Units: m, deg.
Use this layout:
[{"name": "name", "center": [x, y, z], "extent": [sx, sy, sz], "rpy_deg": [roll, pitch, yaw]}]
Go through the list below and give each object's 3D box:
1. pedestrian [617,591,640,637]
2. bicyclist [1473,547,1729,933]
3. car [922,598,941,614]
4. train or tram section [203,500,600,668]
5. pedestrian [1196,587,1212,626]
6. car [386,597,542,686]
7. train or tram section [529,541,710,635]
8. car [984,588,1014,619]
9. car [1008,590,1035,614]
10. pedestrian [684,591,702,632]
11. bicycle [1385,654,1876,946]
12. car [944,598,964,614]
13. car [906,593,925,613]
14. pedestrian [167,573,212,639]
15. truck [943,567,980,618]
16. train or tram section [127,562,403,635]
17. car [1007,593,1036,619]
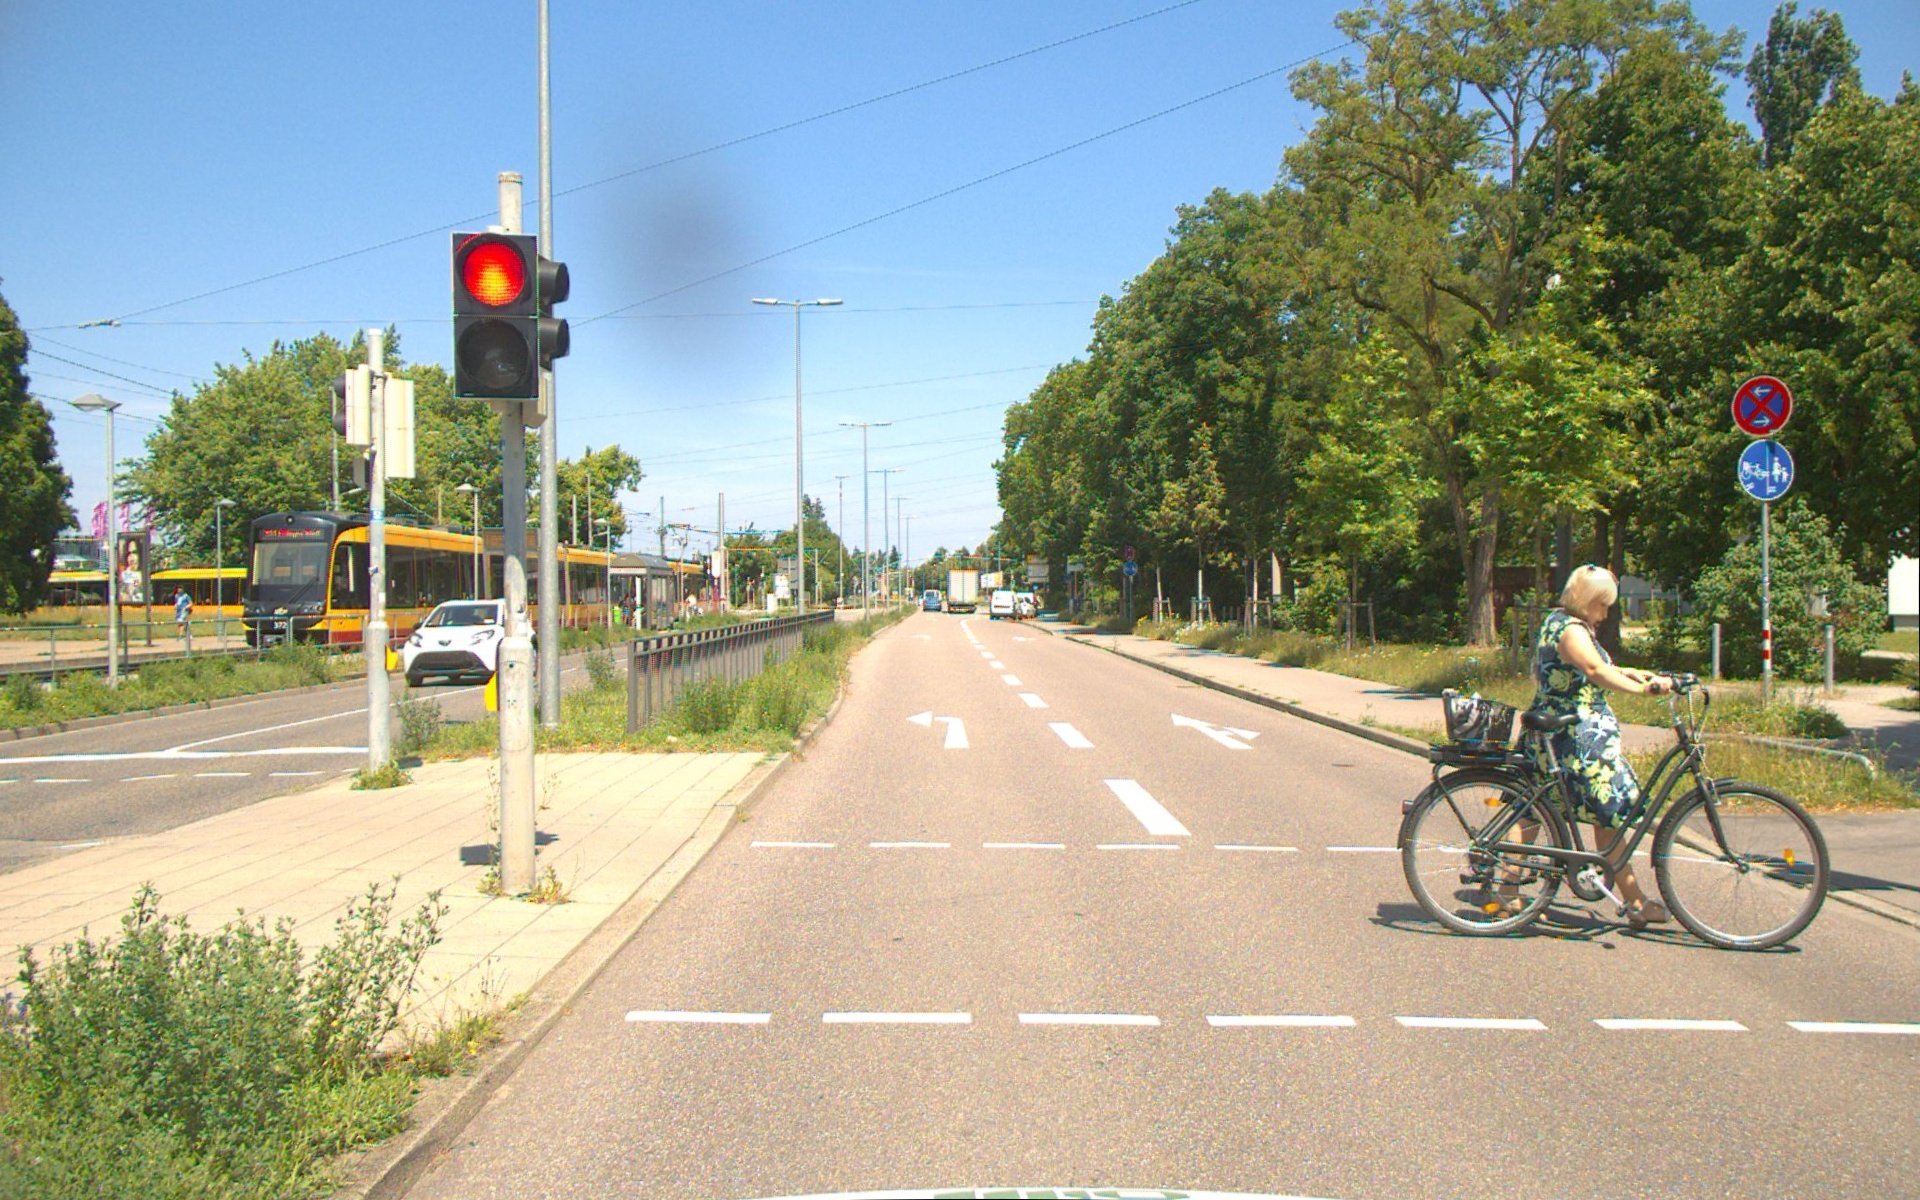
[{"name": "pedestrian", "center": [-13.851, 0.588, 69.087], "extent": [0.769, 1.901, 0.817], "rpy_deg": [0, 0, -1]}, {"name": "bicyclist", "center": [2.915, 0.610, 7.584], "extent": [0.937, 1.696, 0.580], "rpy_deg": [0, 1, 3]}, {"name": "car", "center": [-2.692, 0.531, 157.924], "extent": [1.774, 1.490, 3.999], "rpy_deg": [0, 0, -1]}, {"name": "train or tram section", "center": [-15.988, -0.432, 52.712], "extent": [2.897, 3.815, 30.027], "rpy_deg": [0, 0, -1]}, {"name": "pedestrian", "center": [9.373, 0.252, 63.560], "extent": [0.591, 1.463, 0.556], "rpy_deg": [0, 0, 6]}, {"name": "car", "center": [-9.118, 0.722, 30.719], "extent": [1.807, 1.521, 3.790], "rpy_deg": [0, 0, -1]}, {"name": "train or tram section", "center": [-16.448, -0.557, 84.254], "extent": [2.871, 3.856, 33.081], "rpy_deg": [0, 0, -1]}, {"name": "car", "center": [2.454, 0.218, 105.554], "extent": [1.743, 1.937, 3.999], "rpy_deg": [0, 0, -1]}, {"name": "car", "center": [4.407, 0.115, 118.859], "extent": [1.743, 1.698, 3.999], "rpy_deg": [0, 0, -1]}, {"name": "pedestrian", "center": [-13.466, 0.585, 83.445], "extent": [0.798, 2.049, 0.938], "rpy_deg": [0, 0, -1]}, {"name": "bicycle", "center": [2.900, 0.853, 7.268], "extent": [1.916, 1.181, 0.541], "rpy_deg": [0, 1, 2]}, {"name": "car", "center": [-0.587, 0.559, 153.604], "extent": [1.774, 1.490, 3.999], "rpy_deg": [0, 0, -1]}, {"name": "car", "center": [-4.693, 0.329, 175.094], "extent": [1.953, 2.049, 3.999], "rpy_deg": [0, 0, -1]}, {"name": "pedestrian", "center": [-24.321, 0.189, 52.233], "extent": [0.961, 2.049, 1.021], "rpy_deg": [0, 0, -1]}, {"name": "truck", "center": [0.073, -0.645, 146.126], "extent": [3.140, 4.435, 6.559], "rpy_deg": [0, 0, -1]}, {"name": "train or tram section", "center": [-40.389, -0.046, 95.624], "extent": [18.068, 4.000, 3.225], "rpy_deg": [0, 0, 24]}, {"name": "car", "center": [4.184, 0.396, 112.446], "extent": [1.743, 1.698, 3.999], "rpy_deg": [0, 0, -1]}]
